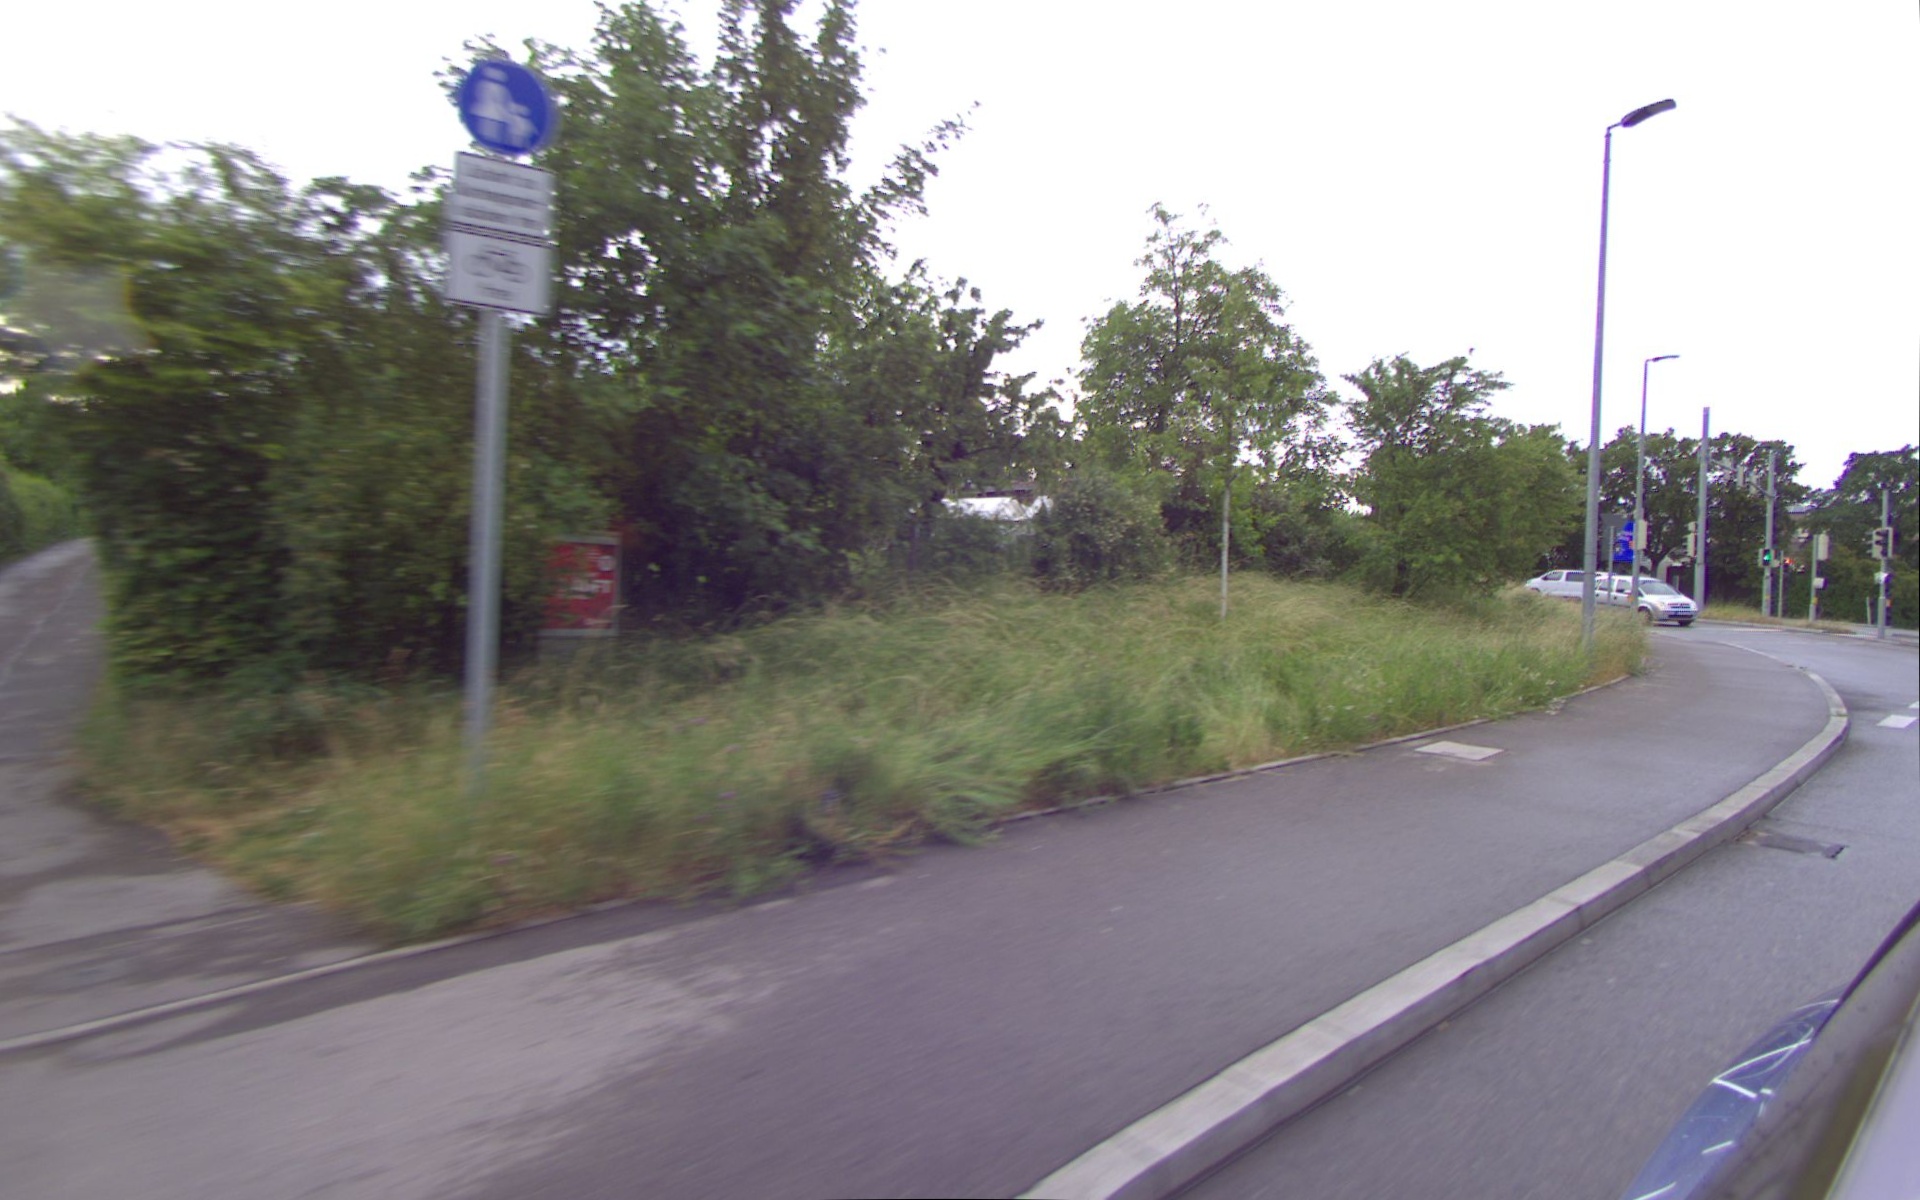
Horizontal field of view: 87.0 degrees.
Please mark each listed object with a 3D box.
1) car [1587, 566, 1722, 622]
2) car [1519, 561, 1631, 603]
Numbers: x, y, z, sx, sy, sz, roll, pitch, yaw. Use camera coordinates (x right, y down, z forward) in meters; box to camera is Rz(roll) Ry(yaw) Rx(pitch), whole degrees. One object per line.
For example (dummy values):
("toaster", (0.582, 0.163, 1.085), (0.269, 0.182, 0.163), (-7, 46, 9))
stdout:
("car", (24.236, -0.268, 35.505), (1.788, 1.623, 4.068), (-1, 4, -1))
("car", (35.976, -1.103, 59.324), (1.806, 2.059, 5.195), (2, 3, -37))
